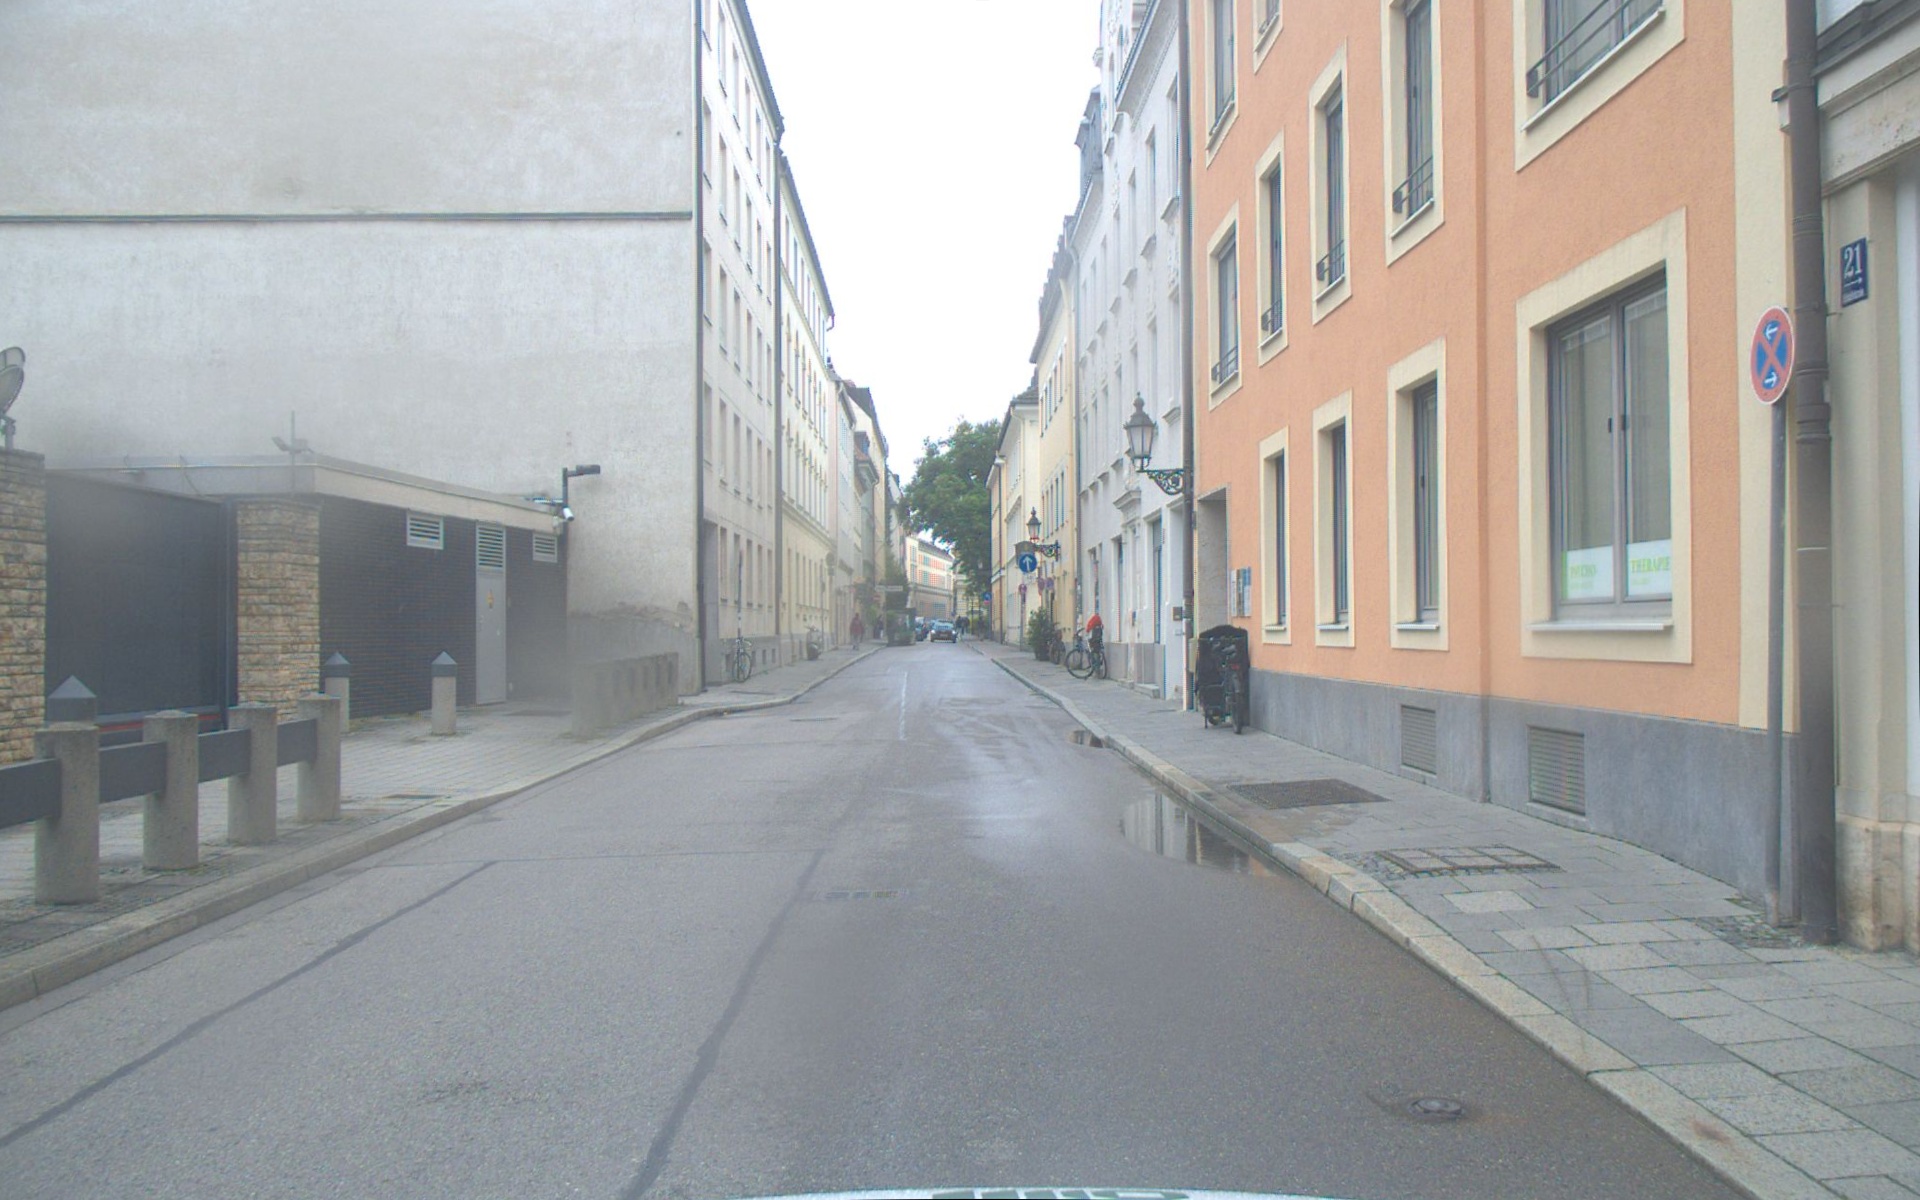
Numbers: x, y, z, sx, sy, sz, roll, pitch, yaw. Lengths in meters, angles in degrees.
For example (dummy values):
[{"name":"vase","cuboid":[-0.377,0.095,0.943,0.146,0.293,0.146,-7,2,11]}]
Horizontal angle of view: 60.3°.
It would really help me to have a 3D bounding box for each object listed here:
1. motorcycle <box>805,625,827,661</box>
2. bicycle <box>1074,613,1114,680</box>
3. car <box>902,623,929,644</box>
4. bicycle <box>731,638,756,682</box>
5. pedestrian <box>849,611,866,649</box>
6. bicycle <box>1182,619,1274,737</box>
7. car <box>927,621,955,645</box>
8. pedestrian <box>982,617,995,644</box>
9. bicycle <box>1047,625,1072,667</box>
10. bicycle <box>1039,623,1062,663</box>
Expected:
[{"name":"motorcycle","cuboid":[-4.854,1.439,55.859,0.590,1.194,1.708,0,-1,0]},{"name":"bicycle","cuboid":[2.964,1.010,36.841,0.698,1.420,2.122,-3,-1,2]},{"name":"car","cuboid":[-3.202,2.396,119.193,1.742,1.492,3.663,0,-1,2]},{"name":"bicycle","cuboid":[-4.926,1.356,37.648,0.313,0.960,1.574,2,-1,1]},{"name":"pedestrian","cuboid":[-4.831,1.407,77.853,0.750,1.738,0.785,-1,-1,-3]},{"name":"bicycle","cuboid":[3.191,0.898,19.902,0.665,1.261,2.382,-5,0,1]},{"name":"car","cuboid":[-1.308,2.242,113.328,1.776,1.622,3.998,0,-1,-2]},{"name":"pedestrian","cuboid":[1.899,2.062,111.905,0.862,1.834,1.046,0,-1,0]},{"name":"bicycle","cuboid":[2.880,1.319,47.855,0.554,1.157,1.987,-3,-1,0]},{"name":"bicycle","cuboid":[2.729,1.305,50.138,0.554,1.157,1.684,-3,-1,0]}]
